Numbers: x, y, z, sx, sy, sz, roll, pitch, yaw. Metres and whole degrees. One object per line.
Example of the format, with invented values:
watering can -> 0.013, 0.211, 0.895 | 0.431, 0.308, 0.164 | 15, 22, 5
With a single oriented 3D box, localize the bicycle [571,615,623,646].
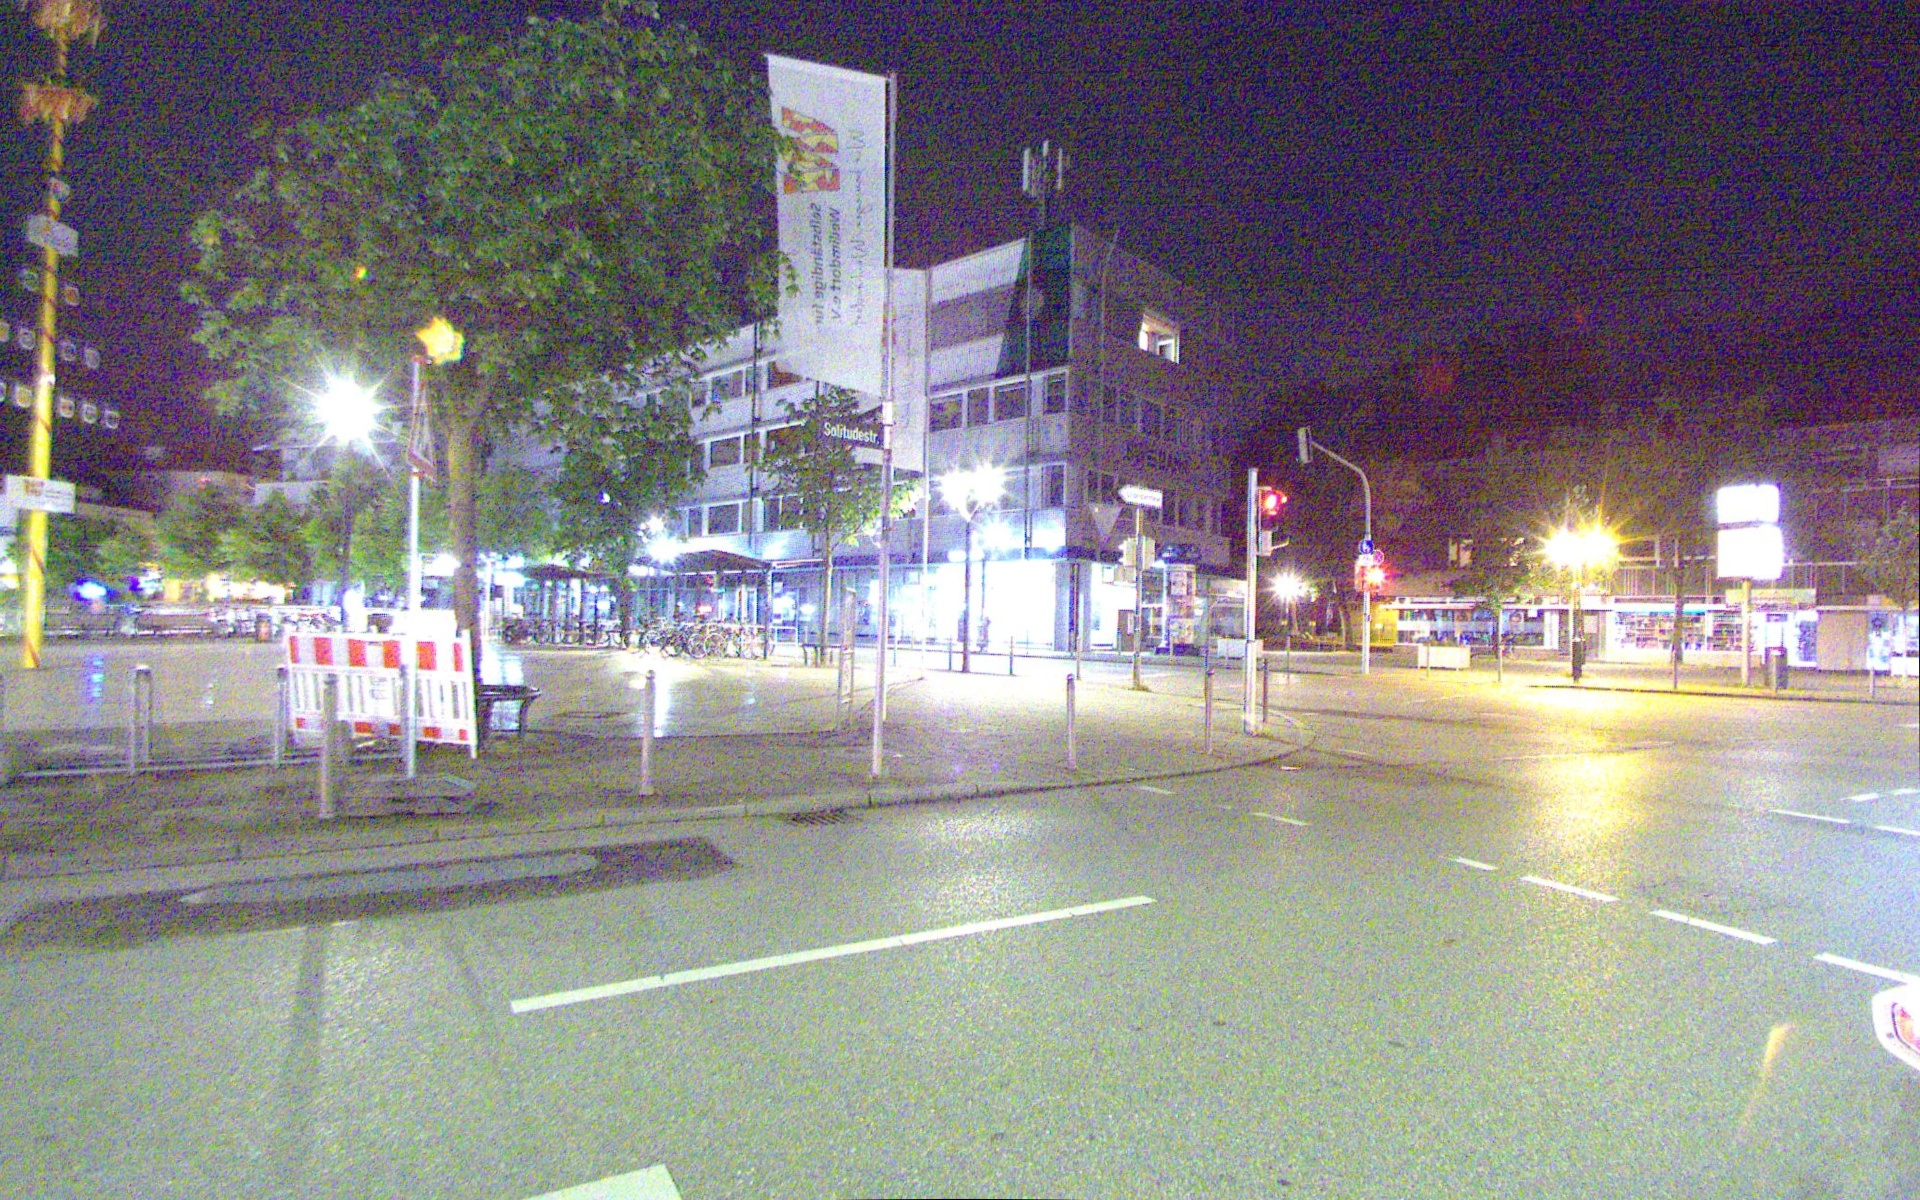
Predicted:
bicycle -> -11.953, 1.009, 33.115 | 0.473, 0.970, 1.525 | 2, 0, 44

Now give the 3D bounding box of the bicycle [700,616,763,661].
bicycle -> -5.652, 0.942, 24.926 | 0.440, 1.068, 1.525 | 2, 0, 43

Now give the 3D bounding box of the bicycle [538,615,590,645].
bicycle -> -13.073, 0.997, 33.173 | 0.473, 0.970, 1.525 | 2, 0, 44

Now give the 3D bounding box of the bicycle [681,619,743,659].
bicycle -> -6.291, 0.983, 25.568 | 0.440, 0.970, 1.525 | 2, 0, 43

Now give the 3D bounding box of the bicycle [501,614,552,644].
bicycle -> -14.828, 0.989, 34.395 | 0.473, 0.970, 1.525 | 2, 0, 44

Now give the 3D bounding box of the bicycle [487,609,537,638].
bicycle -> -15.552, 0.832, 34.885 | 0.473, 0.970, 1.525 | 2, 0, 44

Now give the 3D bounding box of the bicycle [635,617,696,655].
bicycle -> -7.852, 0.953, 26.824 | 0.473, 0.970, 1.525 | 2, 0, 44

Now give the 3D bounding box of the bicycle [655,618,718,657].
bicycle -> -7.109, 0.963, 26.144 | 0.473, 0.970, 1.525 | 2, 0, 44

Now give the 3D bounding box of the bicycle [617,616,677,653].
bicycle -> -8.532, 0.935, 27.425 | 0.473, 0.970, 1.525 | 2, 0, 44

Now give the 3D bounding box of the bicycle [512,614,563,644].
bicycle -> -14.186, 0.981, 33.740 | 0.473, 0.970, 1.525 | 2, 0, 44
